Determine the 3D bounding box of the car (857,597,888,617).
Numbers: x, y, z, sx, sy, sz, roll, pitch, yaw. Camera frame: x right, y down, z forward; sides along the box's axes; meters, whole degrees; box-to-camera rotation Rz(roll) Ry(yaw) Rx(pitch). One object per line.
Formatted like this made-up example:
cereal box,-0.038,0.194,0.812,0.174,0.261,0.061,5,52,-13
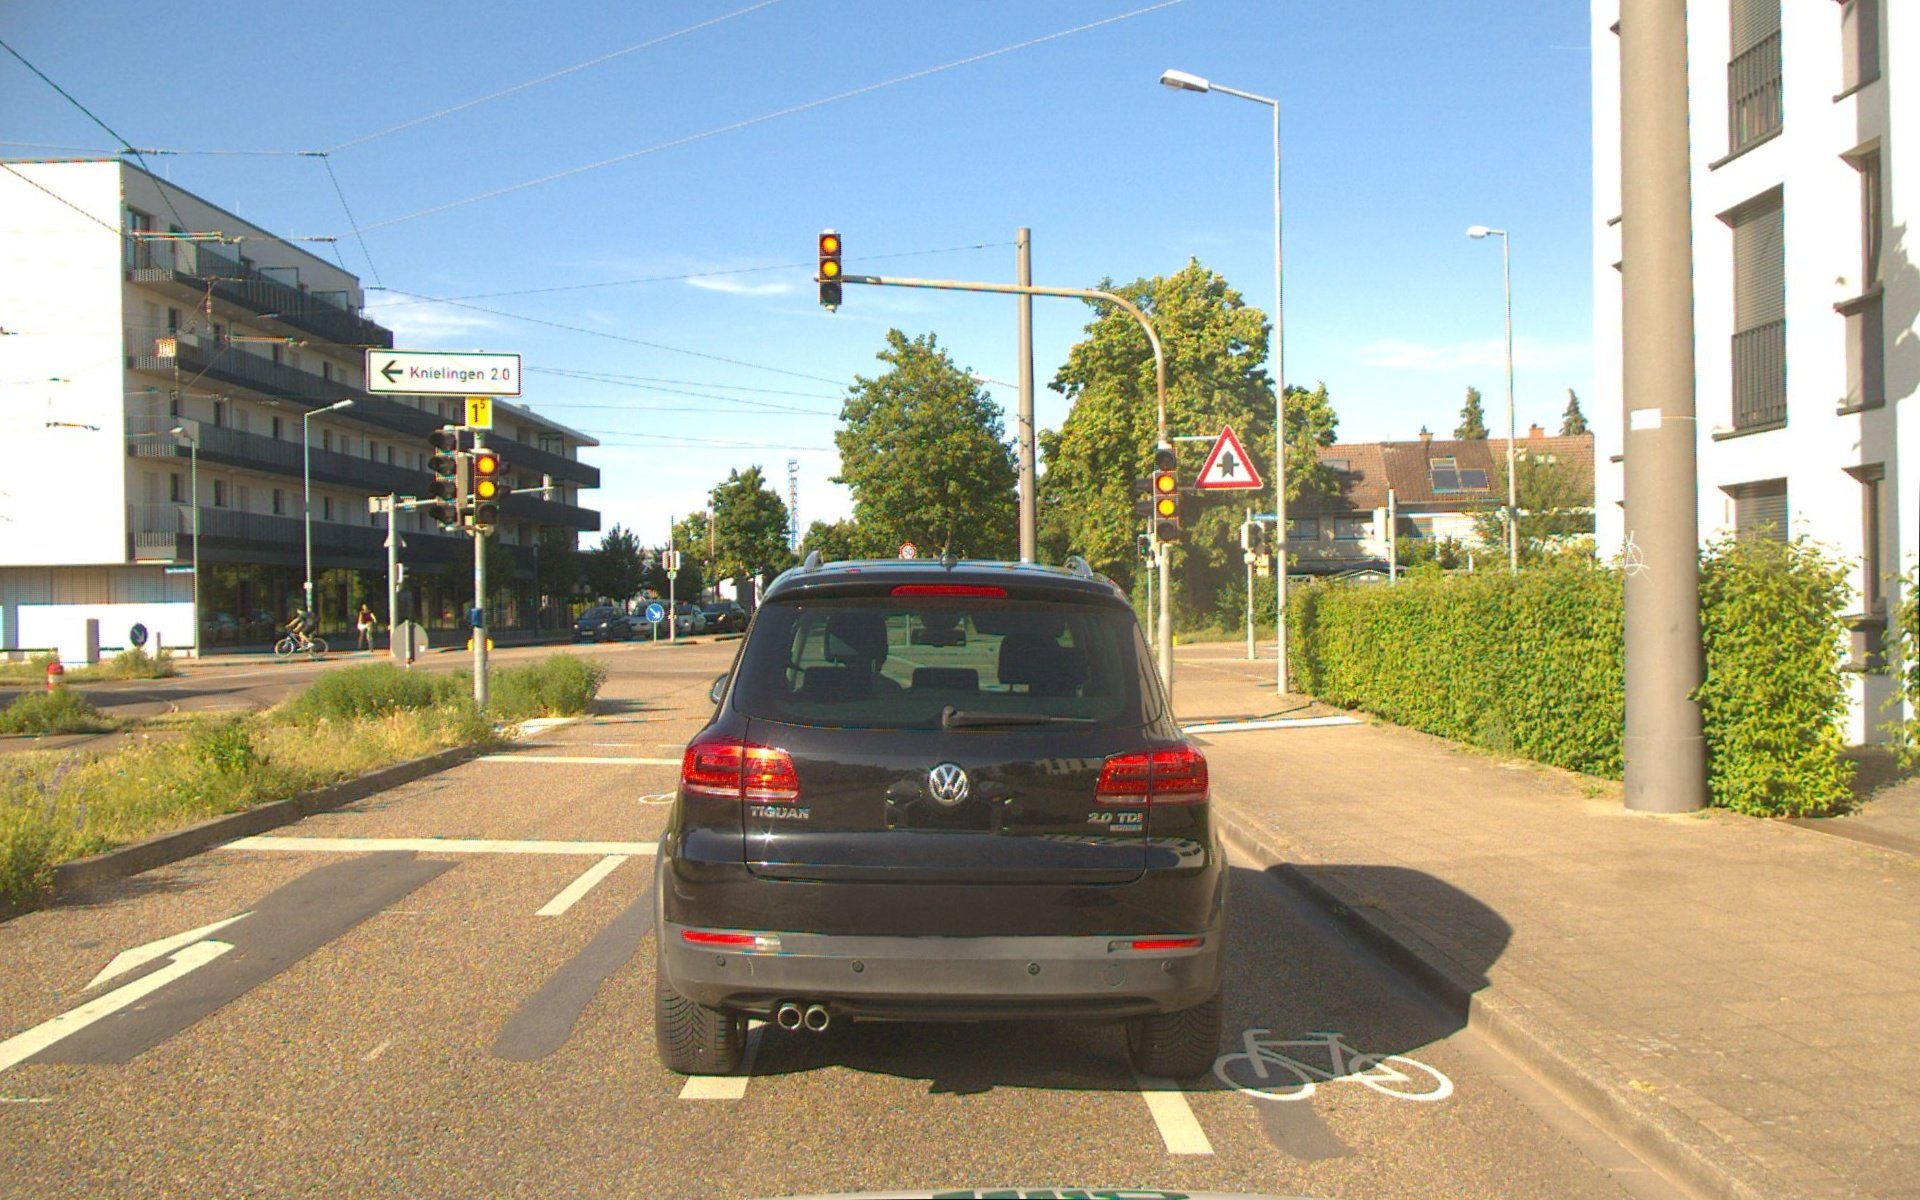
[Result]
car,-7.488,0.589,141.418,1.951,1.599,4.003,-1,0,7

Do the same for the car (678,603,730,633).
car,-13.779,0.945,89.279,1.926,1.561,4.741,-1,0,1

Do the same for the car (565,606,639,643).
car,-15.311,1.036,70.946,1.659,1.482,4.456,-1,0,7

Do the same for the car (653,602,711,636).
car,-13.962,0.935,83.321,1.951,1.513,3.546,-3,0,6

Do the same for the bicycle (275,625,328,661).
bicycle,-22.432,1.453,56.344,1.617,1.164,0.739,-1,0,-25

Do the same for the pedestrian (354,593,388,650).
pedestrian,-21.620,0.782,60.689,0.957,2.049,0.760,-1,0,-3

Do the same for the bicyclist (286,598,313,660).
bicyclist,-22.493,0.984,56.313,0.782,2.049,0.805,-1,0,-25

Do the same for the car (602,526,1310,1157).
car,-0.081,0.668,6.746,1.890,1.683,4.512,1,0,-2

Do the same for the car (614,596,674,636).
car,-14.861,0.748,78.001,1.953,1.786,4.361,-1,0,0
